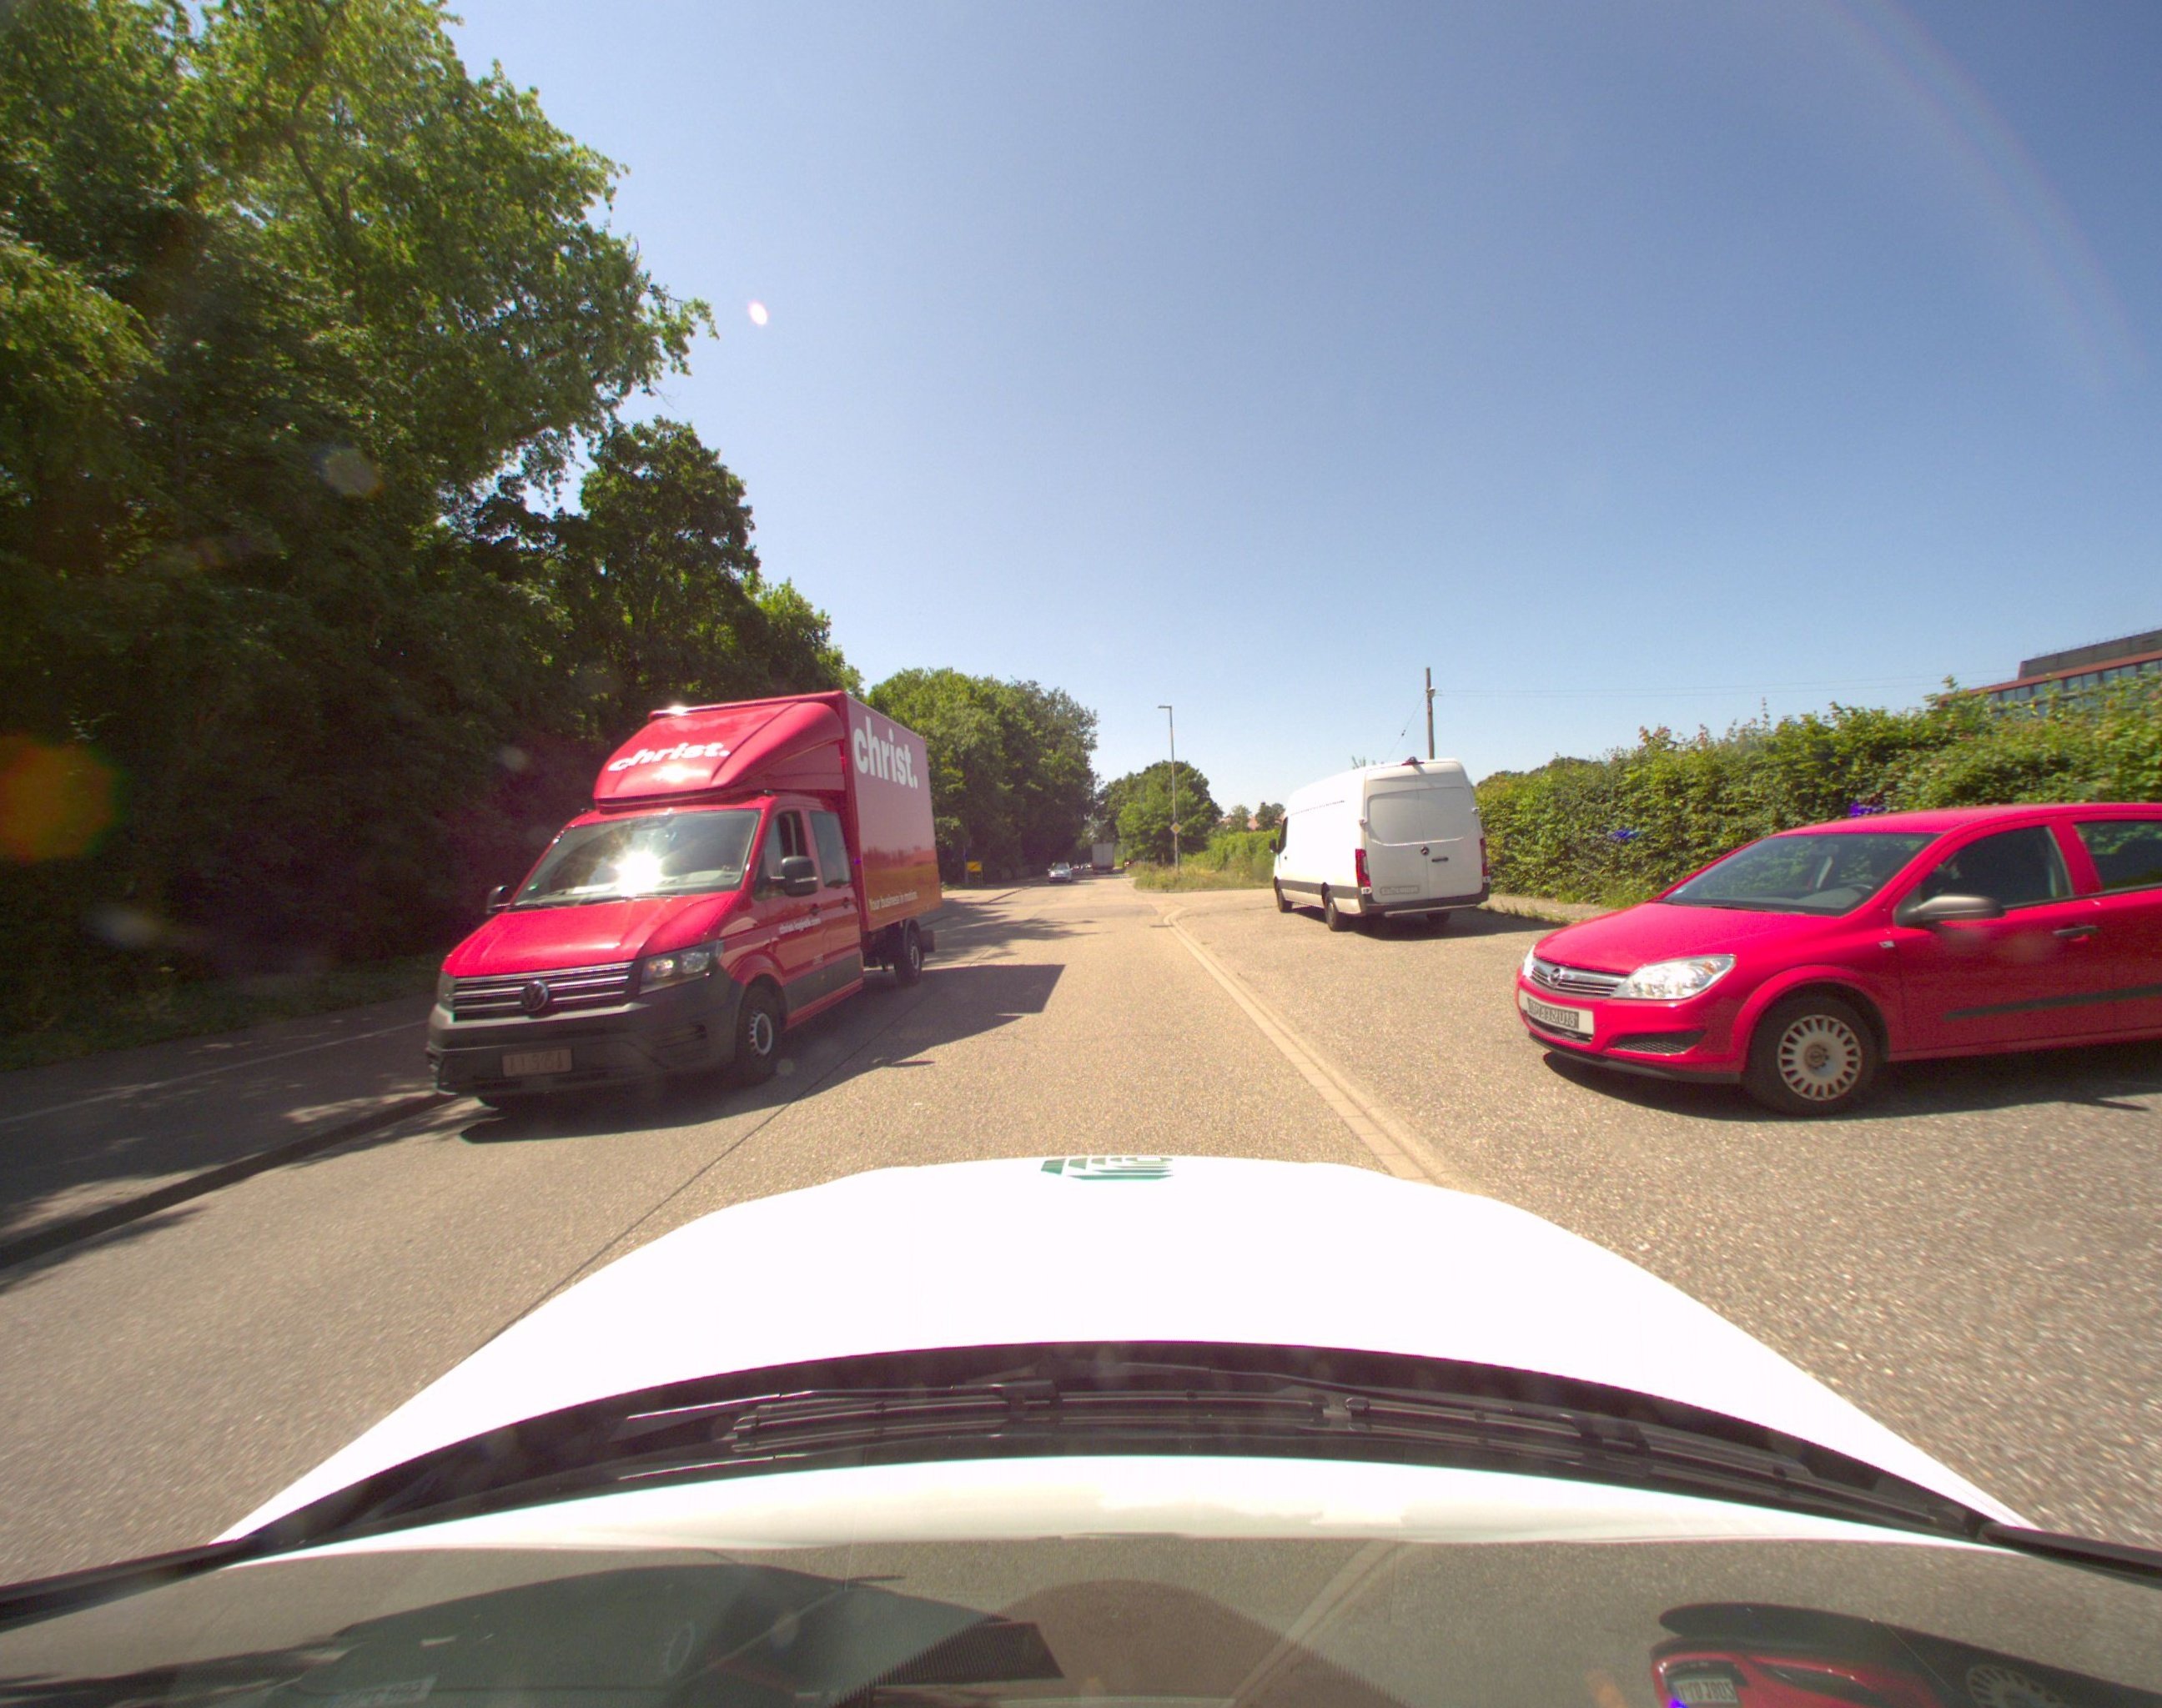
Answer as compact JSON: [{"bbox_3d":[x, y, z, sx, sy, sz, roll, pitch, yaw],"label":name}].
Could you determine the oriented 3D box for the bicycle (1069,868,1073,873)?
[{"bbox_3d":[-2.276,3.658,182.798,0.715,1.159,2.231,-3,-1,2],"label":"bicycle"}]

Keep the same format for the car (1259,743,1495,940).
[{"bbox_3d":[5.123,-0.169,15.536,1.946,2.733,7.171,-5,0,2],"label":"car"}]

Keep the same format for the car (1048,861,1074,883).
[{"bbox_3d":[-1.554,1.417,63.856,1.785,1.573,4.272,-2,0,1],"label":"car"}]

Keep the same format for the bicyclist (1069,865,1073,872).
[{"bbox_3d":[-2.281,3.240,182.878,0.829,1.716,0.958,-3,-1,2],"label":"bicyclist"}]

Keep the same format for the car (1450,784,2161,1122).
[{"bbox_3d":[4.750,0.448,5.023,4.043,1.434,1.834,-5,-1,-2],"label":"car"}]

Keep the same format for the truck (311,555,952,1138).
[{"bbox_3d":[-3.396,-0.020,8.664,2.313,3.440,7.165,-5,-1,2],"label":"truck"}]

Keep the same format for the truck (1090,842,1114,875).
[{"bbox_3d":[2.665,0.633,99.908,2.723,3.746,13.251,-1,-1,2],"label":"truck"}]

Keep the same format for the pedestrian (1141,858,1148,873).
[{"bbox_3d":[8.008,1.453,103.139,0.736,1.738,0.885,-3,-1,0],"label":"pedestrian"}]

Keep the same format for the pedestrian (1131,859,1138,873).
[{"bbox_3d":[6.712,1.513,102.164,0.860,1.677,0.885,-3,-1,0],"label":"pedestrian"}]
